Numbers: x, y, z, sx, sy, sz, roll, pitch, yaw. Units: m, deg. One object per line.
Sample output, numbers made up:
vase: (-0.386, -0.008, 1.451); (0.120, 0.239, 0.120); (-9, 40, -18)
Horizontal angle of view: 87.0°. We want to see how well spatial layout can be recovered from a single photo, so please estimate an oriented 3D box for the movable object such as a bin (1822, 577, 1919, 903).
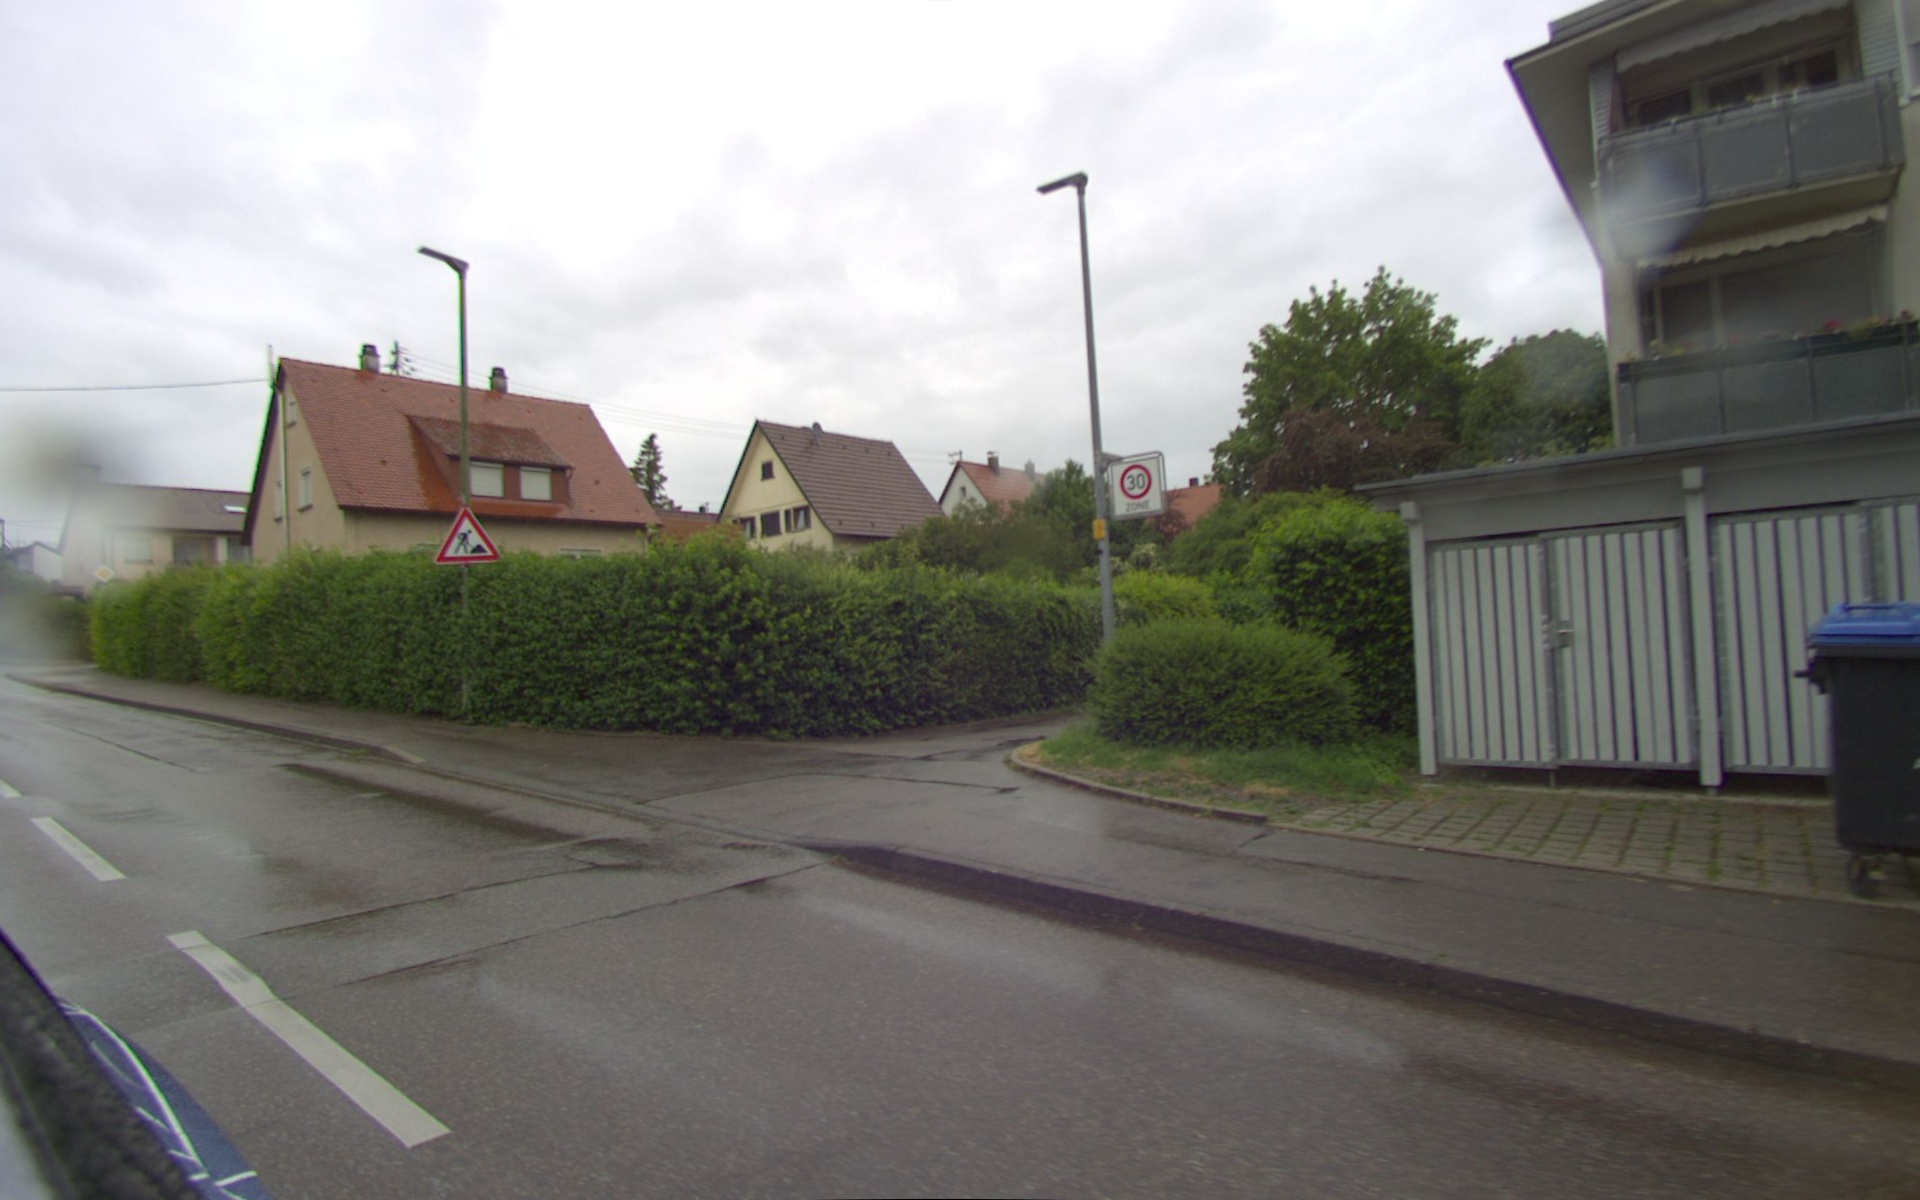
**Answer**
movable object such as a bin: (4.666, 0.571, 4.412); (1.318, 1.357, 1.061); (-2, 0, 39)
